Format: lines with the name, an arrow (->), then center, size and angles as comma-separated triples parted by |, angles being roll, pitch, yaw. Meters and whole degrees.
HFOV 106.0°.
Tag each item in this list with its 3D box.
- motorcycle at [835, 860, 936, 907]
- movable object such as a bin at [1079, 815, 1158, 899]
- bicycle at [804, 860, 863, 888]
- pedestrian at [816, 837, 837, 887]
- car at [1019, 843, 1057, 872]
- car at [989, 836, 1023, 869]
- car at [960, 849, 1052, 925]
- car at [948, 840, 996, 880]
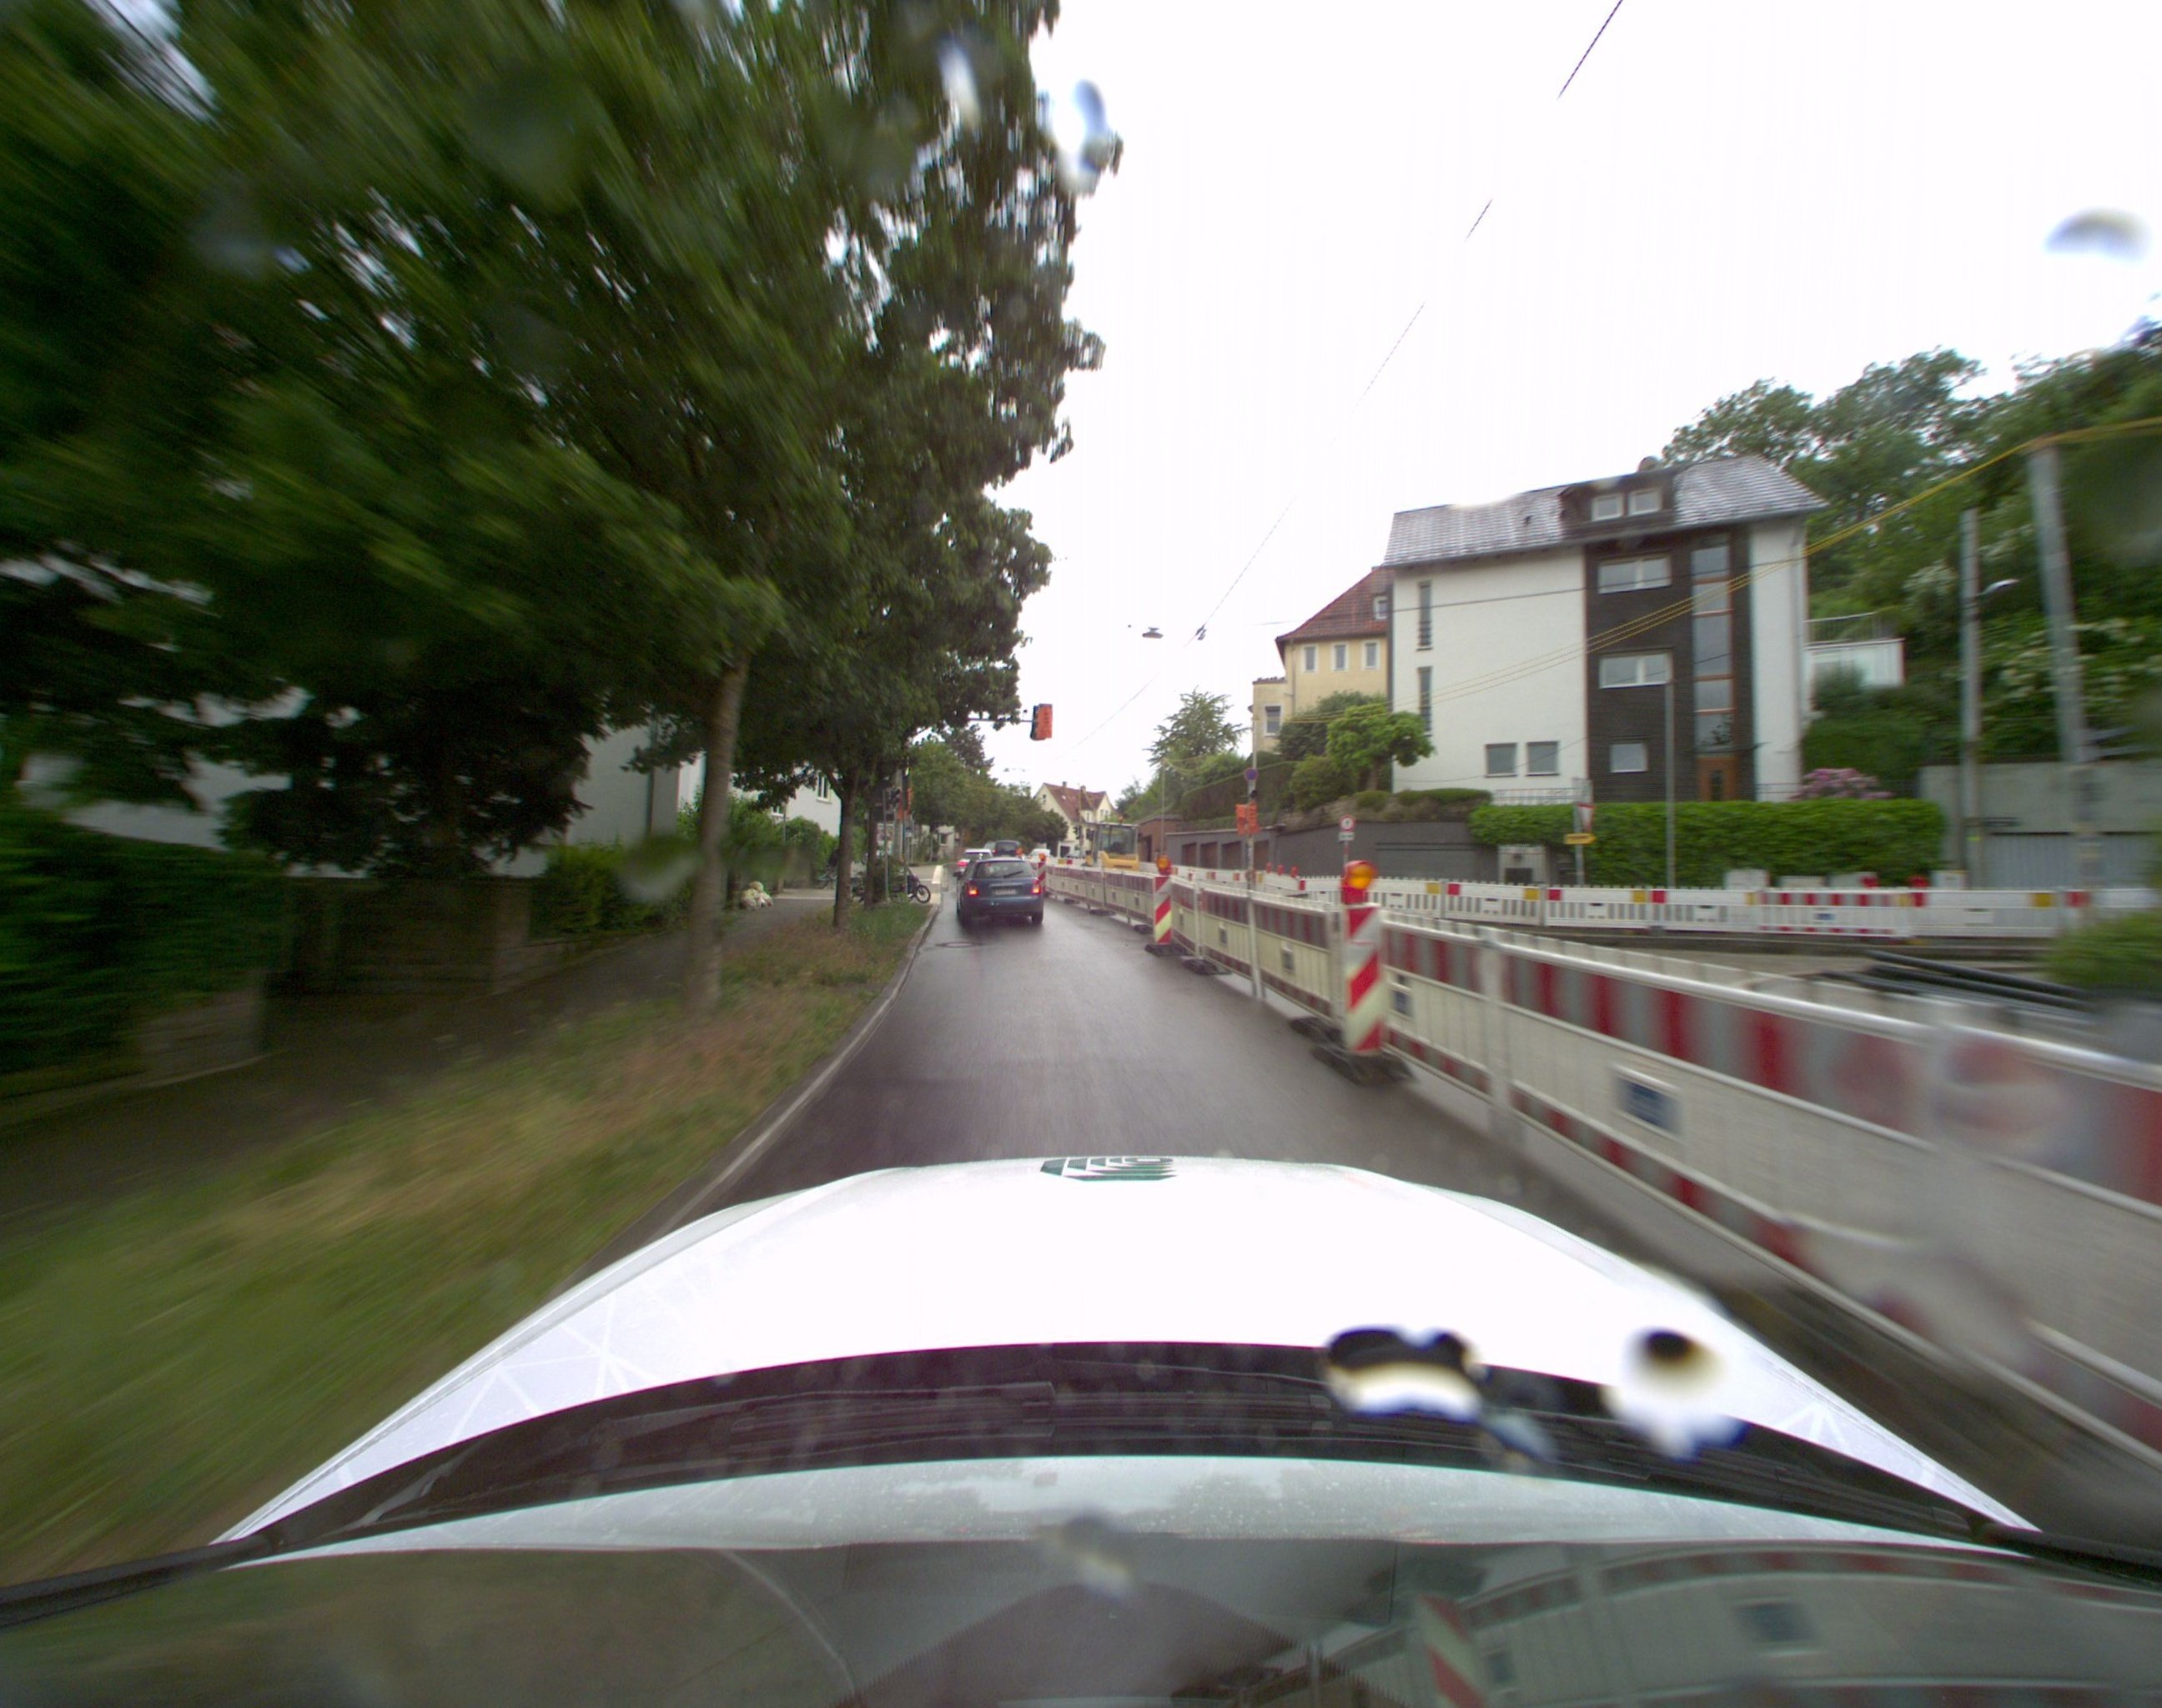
motorcycle -> -5.327, 0.806, 22.329 | 2.597, 1.234, 0.887 | 1, -1, -9
movable object such as a bin -> 1.203, 0.041, 27.898 | 1.992, 2.613, 3.990 | -1, 1, -8
bicycle -> -9.787, 0.788, 32.233 | 2.147, 1.003, 0.634 | -1, -1, -11
pedestrian -> -10.233, 0.323, 32.719 | 0.732, 1.944, 0.463 | -1, -2, -11
car -> -3.175, 0.285, 61.441 | 1.981, 2.014, 4.011 | -2, -1, 10
car -> -4.729, -0.051, 51.018 | 1.992, 1.794, 3.989 | -2, -3, -7
car -> -1.780, 0.754, 18.340 | 1.785, 1.442, 3.951 | -2, -2, -8
car -> -4.952, 0.305, 36.563 | 1.927, 1.618, 4.304 | -1, -1, -11
